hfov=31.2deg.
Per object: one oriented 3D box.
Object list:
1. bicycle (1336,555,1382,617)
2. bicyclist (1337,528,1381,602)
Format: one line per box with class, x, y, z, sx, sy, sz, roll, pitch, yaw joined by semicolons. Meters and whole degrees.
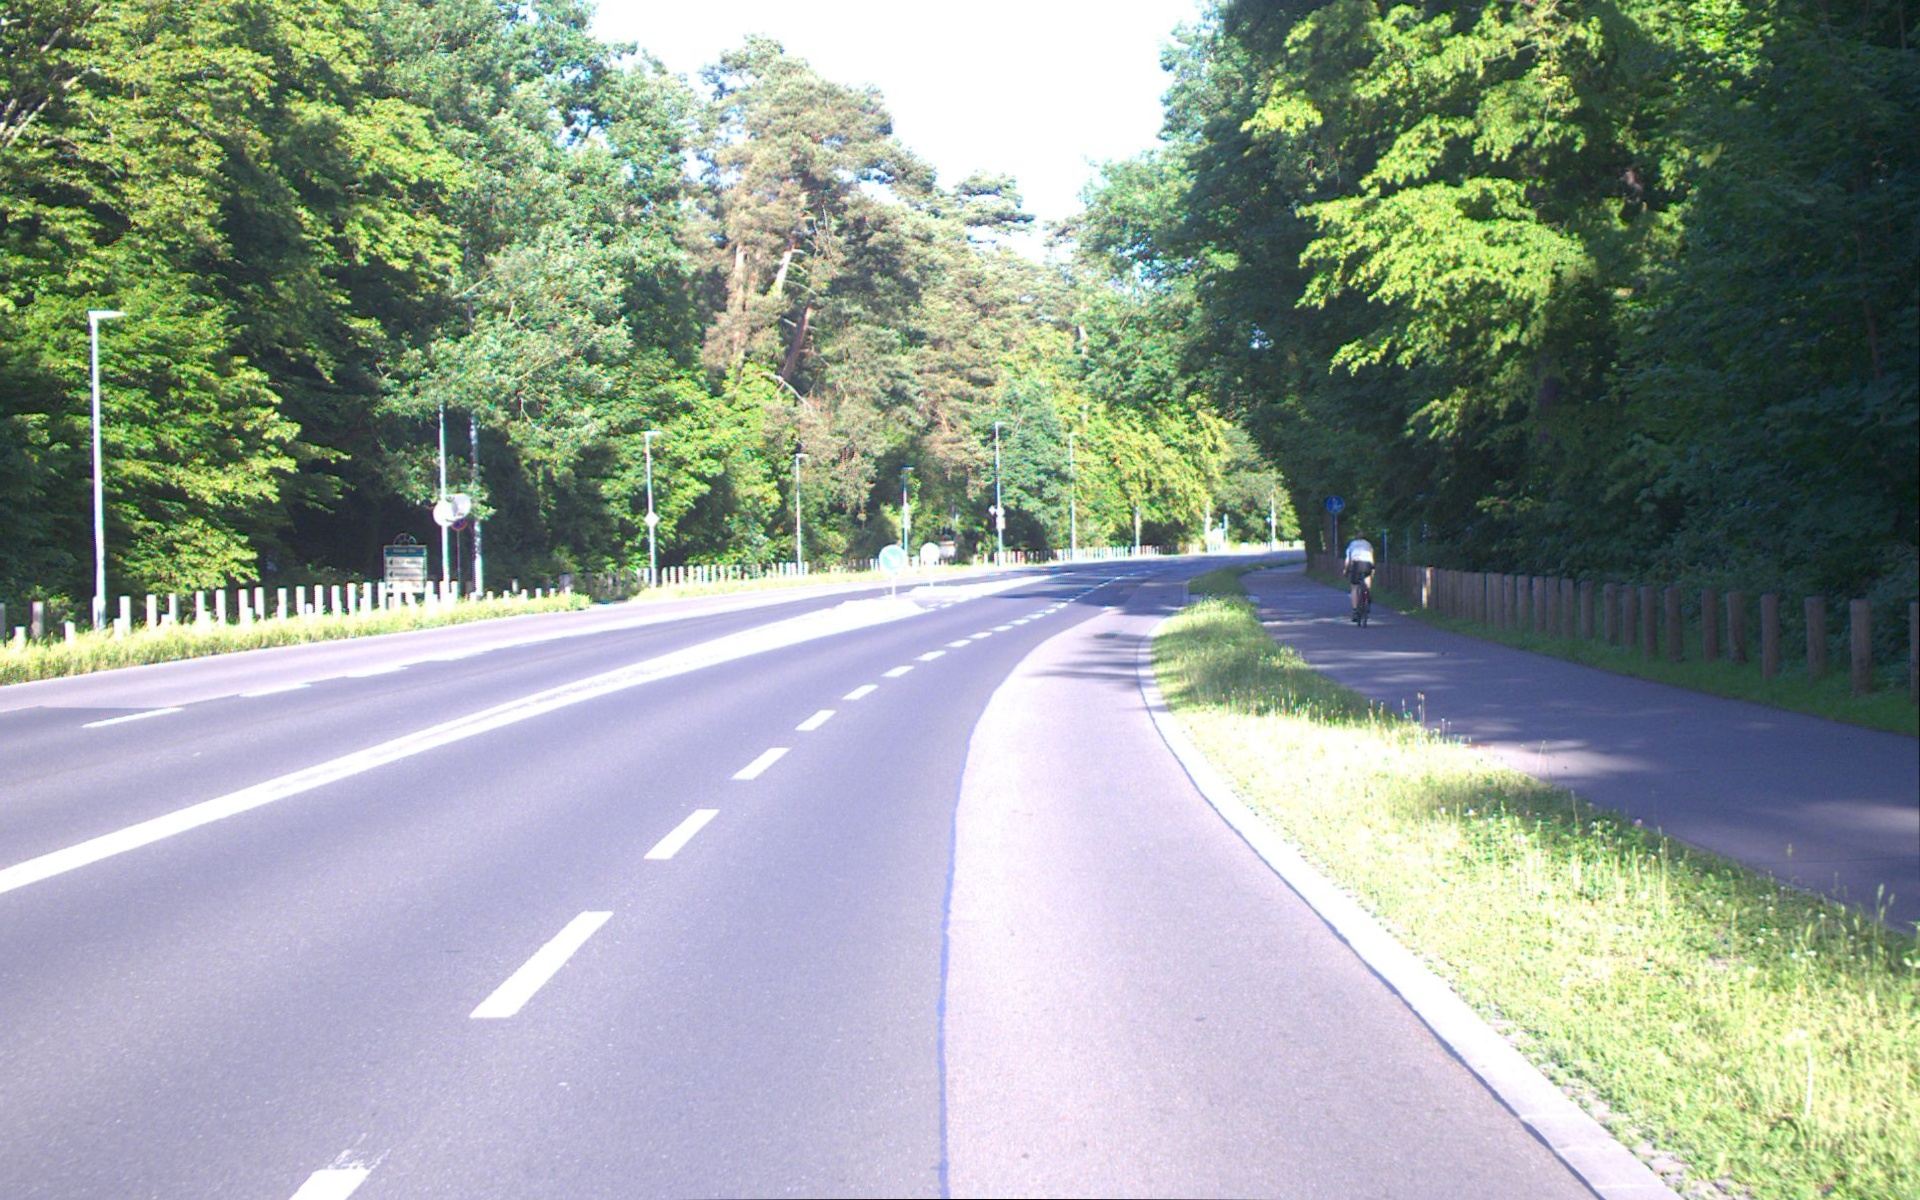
bicycle;7.015;-0.243;60.481;0.712;1.052;2.052;0;0;5
bicyclist;7.022;-0.606;60.553;0.712;1.284;1.104;0;0;5
